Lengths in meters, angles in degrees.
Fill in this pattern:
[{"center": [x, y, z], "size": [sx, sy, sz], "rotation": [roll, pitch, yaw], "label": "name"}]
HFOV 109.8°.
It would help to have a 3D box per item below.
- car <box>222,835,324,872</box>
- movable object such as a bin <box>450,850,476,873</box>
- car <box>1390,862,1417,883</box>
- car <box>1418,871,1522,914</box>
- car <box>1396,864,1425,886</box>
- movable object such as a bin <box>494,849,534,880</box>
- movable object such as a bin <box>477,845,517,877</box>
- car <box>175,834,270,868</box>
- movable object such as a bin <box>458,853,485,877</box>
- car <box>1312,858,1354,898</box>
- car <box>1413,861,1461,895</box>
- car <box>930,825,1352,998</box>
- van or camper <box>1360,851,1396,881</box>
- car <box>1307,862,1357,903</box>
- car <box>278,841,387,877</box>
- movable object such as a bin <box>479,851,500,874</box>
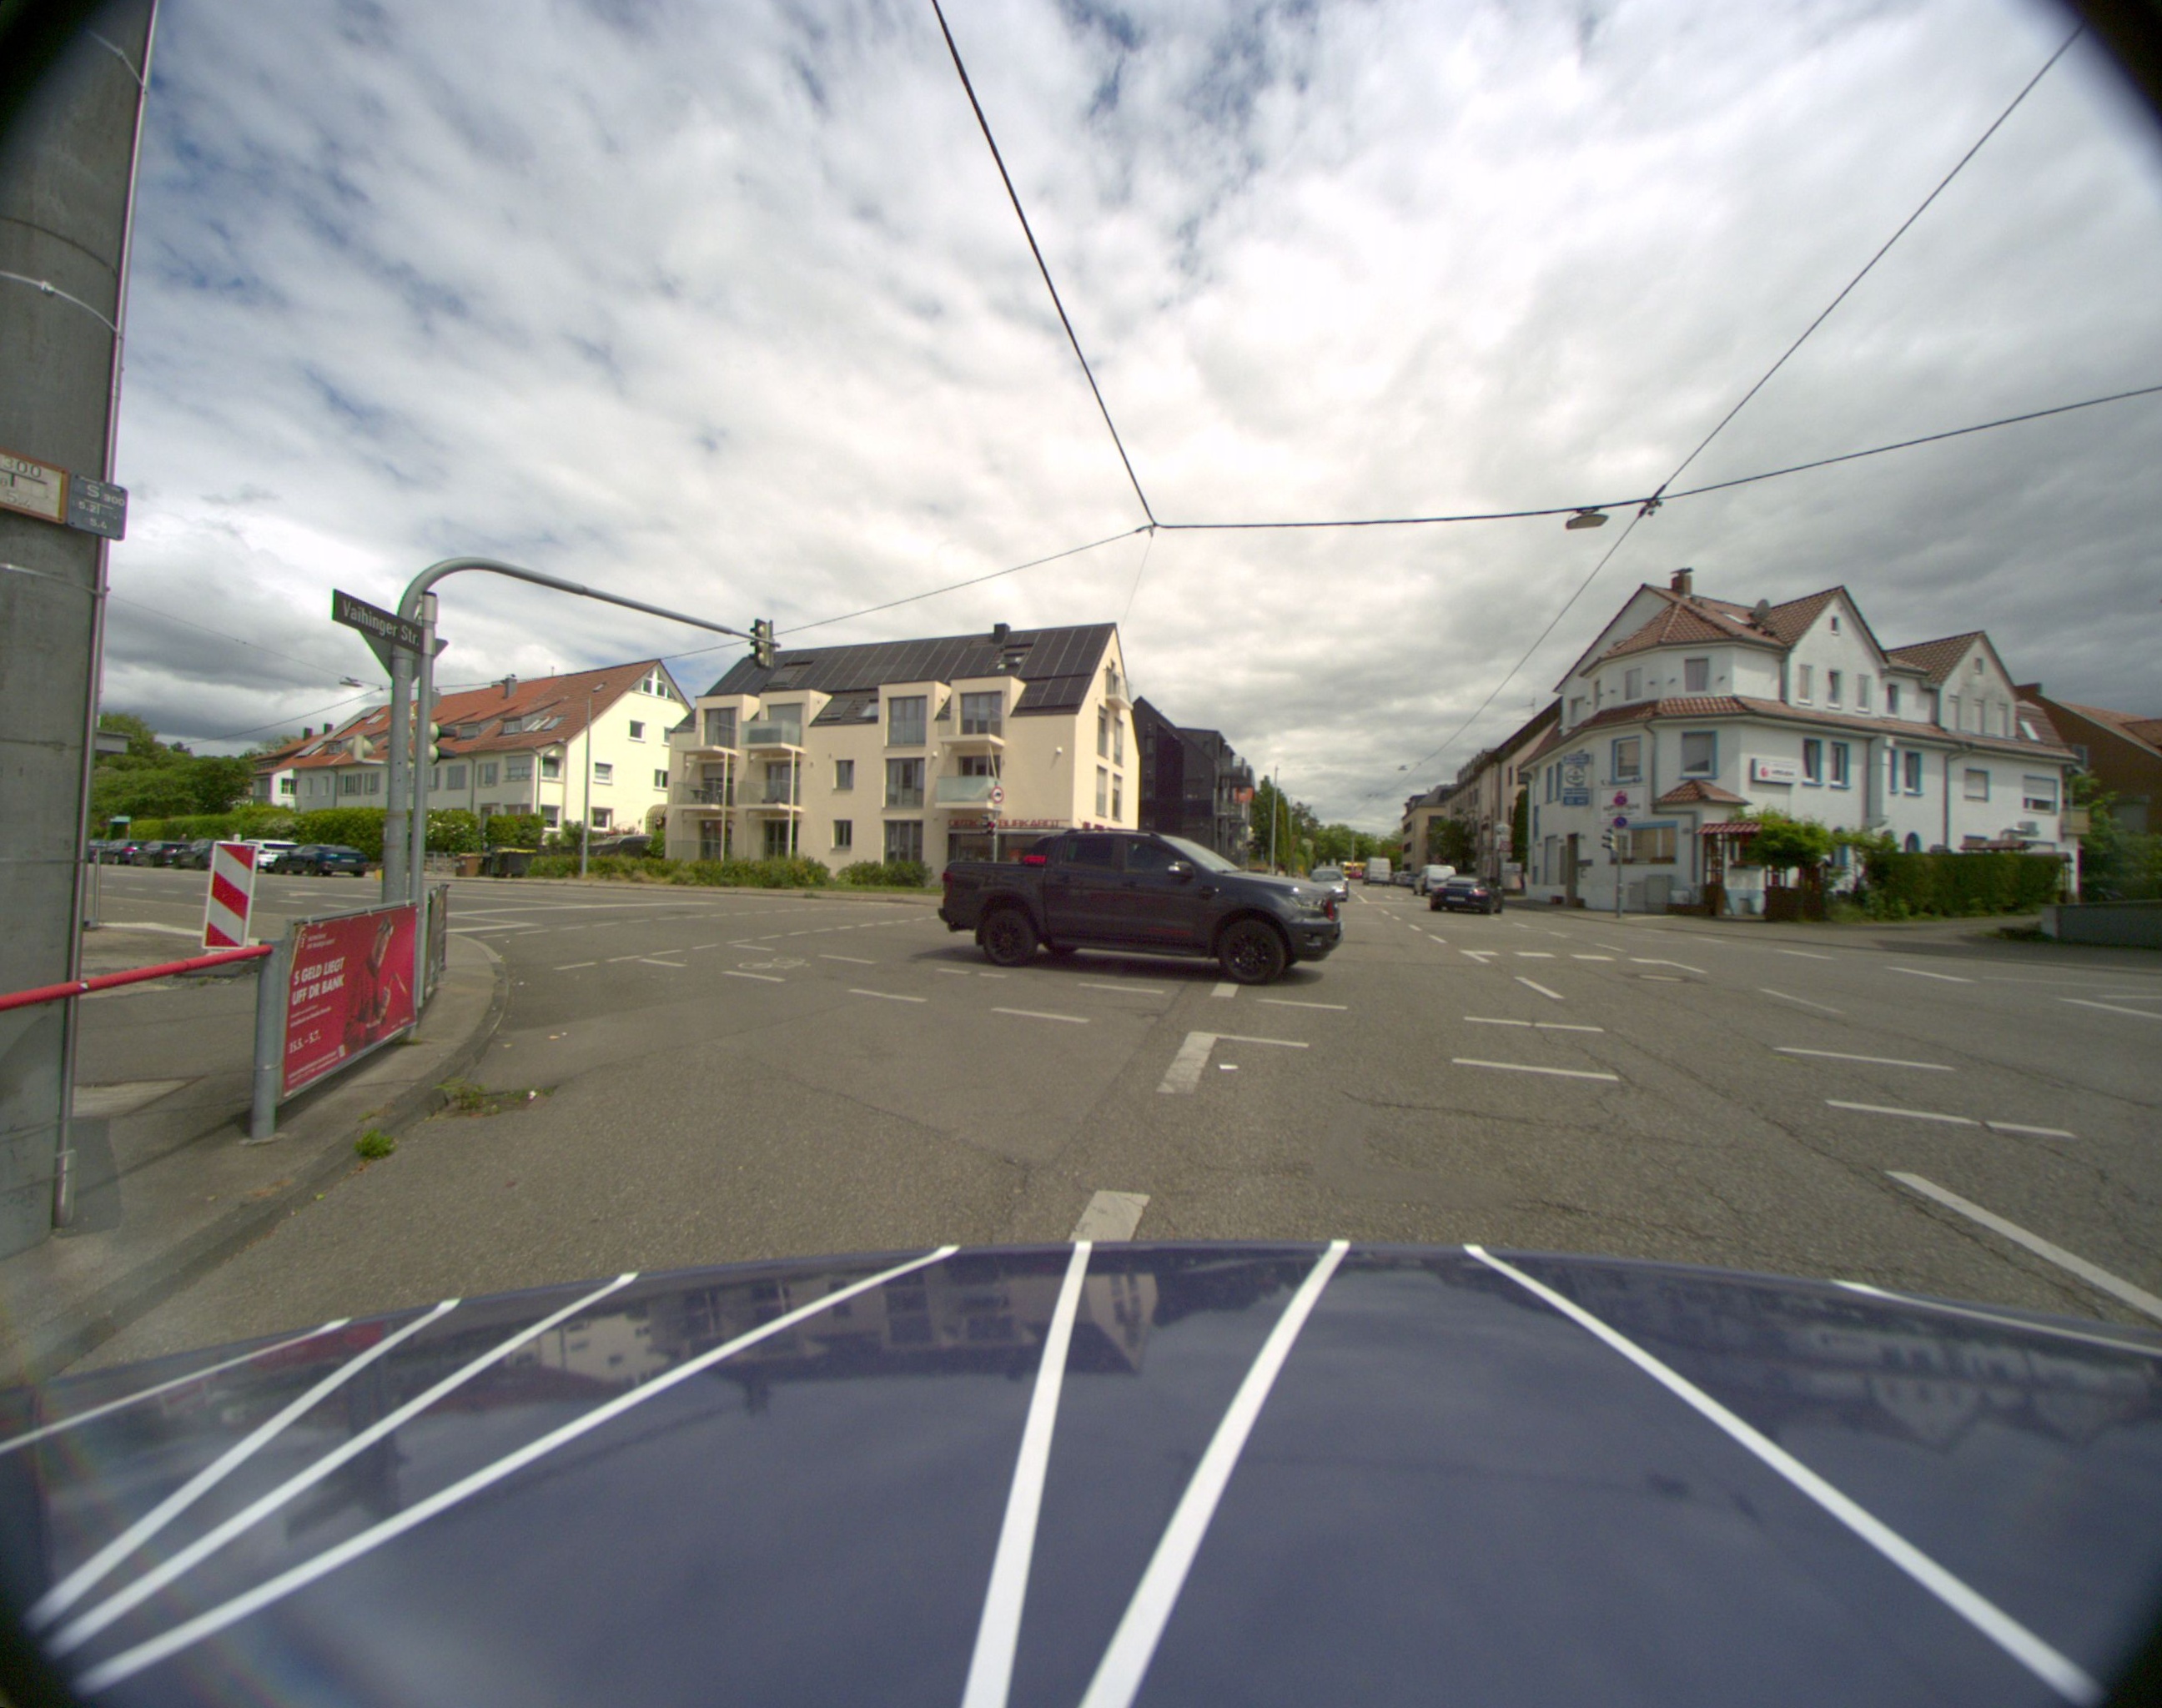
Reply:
[{"center": [-39.171, -0.023, 36.842], "size": [4.442, 1.623, 2.004], "rotation": [1, 0, 24], "label": "car"}, {"center": [-28.828, 0.343, 35.446], "size": [0.690, 1.059, 0.766], "rotation": [2, 0, 31], "label": "movable object such as a bin"}, {"center": [32.831, 1.852, 77.451], "size": [1.996, 2.002, 4.005], "rotation": [2, 0, 16], "label": "car"}, {"center": [13.340, 1.254, 25.925], "size": [1.994, 1.275, 4.313], "rotation": [2, 0, 43], "label": "car"}, {"center": [31.398, 1.965, 72.449], "size": [1.996, 2.002, 4.005], "rotation": [2, 0, 16], "label": "car"}, {"center": [-25.798, 0.472, 34.589], "size": [0.978, 1.354, 1.095], "rotation": [1, 0, 24], "label": "movable object such as a bin"}, {"center": [-27.038, 0.324, 35.196], "size": [0.978, 1.438, 1.095], "rotation": [2, 0, 24], "label": "movable object such as a bin"}, {"center": [-44.100, -0.135, 39.031], "size": [4.225, 1.623, 2.004], "rotation": [1, 0, 24], "label": "car"}, {"center": [-28.203, 0.500, 35.152], "size": [0.690, 1.059, 0.766], "rotation": [2, 0, 31], "label": "movable object such as a bin"}, {"center": [13.515, 1.221, 40.904], "size": [1.996, 2.002, 4.006], "rotation": [1, 0, 17], "label": "car"}, {"center": [20.868, 1.389, 44.716], "size": [1.818, 1.801, 4.425], "rotation": [2, -1, 16], "label": "car"}, {"center": [0.738, 0.592, 10.113], "size": [5.207, 1.838, 1.892], "rotation": [1, 0, 24], "label": "car"}, {"center": [27.718, 1.155, 71.112], "size": [2.110, 2.571, 5.652], "rotation": [4, 0, 13], "label": "van or camper"}, {"center": [11.532, 1.246, 34.981], "size": [1.996, 1.674, 4.006], "rotation": [2, 0, 18], "label": "car"}, {"center": [-33.860, 0.223, 34.378], "size": [4.442, 1.492, 1.823], "rotation": [1, 0, 21], "label": "car"}, {"center": [-27.790, 0.414, 35.696], "size": [0.523, 1.059, 0.655], "rotation": [1, 0, -15], "label": "movable object such as a bin"}]
